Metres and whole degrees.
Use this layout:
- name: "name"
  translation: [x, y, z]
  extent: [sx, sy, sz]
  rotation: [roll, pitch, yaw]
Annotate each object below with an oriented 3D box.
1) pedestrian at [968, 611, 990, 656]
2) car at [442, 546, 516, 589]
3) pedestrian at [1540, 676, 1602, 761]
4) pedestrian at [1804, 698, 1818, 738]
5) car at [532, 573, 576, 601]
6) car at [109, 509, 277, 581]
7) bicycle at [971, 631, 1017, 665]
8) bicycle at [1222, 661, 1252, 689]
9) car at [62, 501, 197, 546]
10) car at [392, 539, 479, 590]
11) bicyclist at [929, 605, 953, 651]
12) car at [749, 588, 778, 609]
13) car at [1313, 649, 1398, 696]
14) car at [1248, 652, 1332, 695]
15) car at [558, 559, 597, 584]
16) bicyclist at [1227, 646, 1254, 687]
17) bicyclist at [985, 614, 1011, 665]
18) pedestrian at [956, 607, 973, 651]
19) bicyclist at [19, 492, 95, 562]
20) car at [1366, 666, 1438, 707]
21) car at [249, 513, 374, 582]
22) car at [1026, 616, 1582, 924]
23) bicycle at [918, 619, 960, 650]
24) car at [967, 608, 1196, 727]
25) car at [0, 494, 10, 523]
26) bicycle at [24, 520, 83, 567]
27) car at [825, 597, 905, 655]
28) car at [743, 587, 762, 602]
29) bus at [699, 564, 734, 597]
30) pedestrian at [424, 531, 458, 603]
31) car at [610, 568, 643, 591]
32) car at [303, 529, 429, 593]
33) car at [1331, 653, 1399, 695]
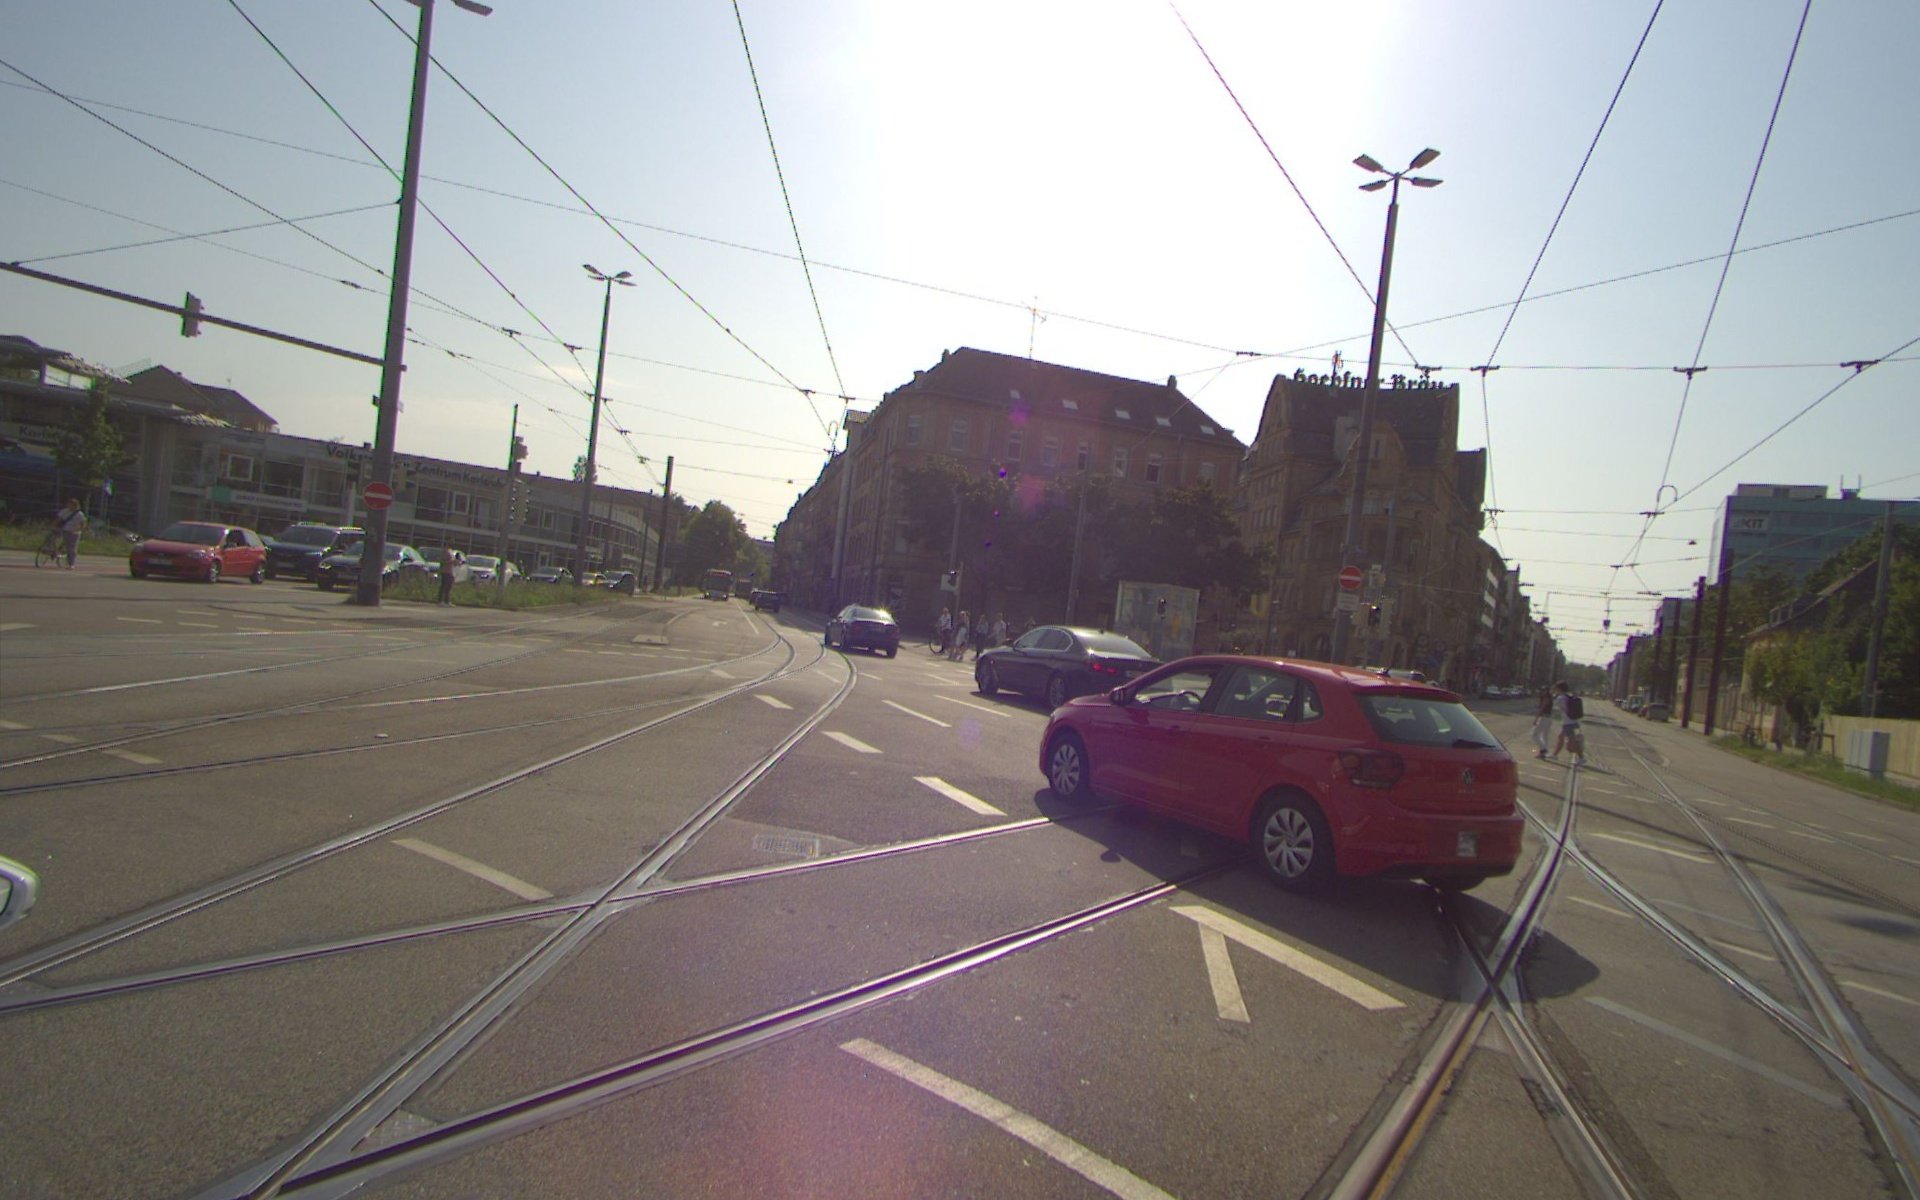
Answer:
- name: "pedestrian"
  translation: [0.735, 1.282, 38.813]
  extent: [0.498, 1.661, 0.522]
  rotation: [7, 0, -17]
- name: "car"
  translation: [-19.401, -1.305, 40.766]
  extent: [1.775, 1.433, 3.989]
  rotation: [7, 0, -14]
- name: "pedestrian"
  translation: [13.172, 2.555, 21.690]
  extent: [0.655, 1.708, 0.786]
  rotation: [6, 1, -36]
- name: "pedestrian"
  translation: [34.427, 4.770, 40.714]
  extent: [0.233, 1.550, 0.326]
  rotation: [7, 1, 32]
- name: "car"
  translation: [-24.826, -0.831, 61.627]
  extent: [1.775, 1.433, 3.989]
  rotation: [7, 0, -14]
- name: "car"
  translation: [-19.109, -1.324, 25.306]
  extent: [1.775, 1.433, 3.989]
  rotation: [7, 0, -14]
- name: "bicycle"
  translation: [1.219, 1.740, 36.134]
  extent: [1.504, 1.037, 0.432]
  rotation: [7, 0, -19]
- name: "bicycle"
  translation: [11.791, 3.205, 42.845]
  extent: [0.395, 1.104, 1.921]
  rotation: [7, 0, 39]
- name: "car"
  translation: [-38.566, -3.517, 46.878]
  extent: [4.339, 1.387, 1.990]
  rotation: [7, 0, -22]
- name: "car"
  translation: [-18.258, -1.221, 35.178]
  extent: [1.775, 1.453, 3.547]
  rotation: [7, 0, -14]
- name: "bicyclist"
  translation: [-0.758, 1.096, 39.390]
  extent: [0.578, 1.738, 0.645]
  rotation: [7, 0, -18]
- name: "car"
  translation: [-15.324, -0.136, 78.254]
  extent: [1.714, 1.366, 3.767]
  rotation: [7, 0, -16]
- name: "car"
  translation: [13.886, 2.571, 35.191]
  extent: [1.667, 1.343, 3.987]
  rotation: [7, 0, 36]
- name: "car"
  translation: [13.143, 2.929, 39.902]
  extent: [1.898, 1.393, 3.987]
  rotation: [7, 0, 37]
- name: "car"
  translation: [-25.666, -1.911, 67.581]
  extent: [1.775, 1.433, 3.989]
  rotation: [7, 0, -14]
- name: "bicyclist"
  translation: [11.921, 2.821, 42.725]
  extent: [0.653, 1.657, 0.915]
  rotation: [7, 1, 38]
- name: "bicyclist"
  translation: [1.360, 1.400, 36.091]
  extent: [0.578, 1.751, 0.593]
  rotation: [7, 0, -18]
- name: "pedestrian"
  translation: [0.174, 1.191, 41.255]
  extent: [0.496, 1.747, 0.624]
  rotation: [7, 0, -2]
- name: "bicyclist"
  translation: [-21.539, -1.730, 24.023]
  extent: [1.076, 1.493, 0.964]
  rotation: [6, 1, -30]
- name: "car"
  translation: [17.648, 3.442, 40.074]
  extent: [1.667, 1.343, 3.987]
  rotation: [7, 0, 36]
- name: "car"
  translation: [-20.872, -1.634, 32.625]
  extent: [1.775, 1.850, 4.760]
  rotation: [7, 0, -14]
- name: "car"
  translation: [2.252, 1.068, 7.620]
  extent: [1.657, 1.465, 3.754]
  rotation: [7, 0, -28]
- name: "bicycle"
  translation: [-0.823, 1.363, 39.299]
  extent: [1.505, 1.037, 0.432]
  rotation: [7, 0, -21]
- name: "car"
  translation: [1.977, 1.110, 18.091]
  extent: [1.890, 1.493, 4.716]
  rotation: [7, 0, -23]
- name: "car"
  translation: [-51.191, -4.910, 51.561]
  extent: [1.972, 1.480, 4.305]
  rotation: [7, -1, -20]
- name: "bicycle"
  translation: [-21.550, -1.354, 23.952]
  extent: [0.523, 1.002, 2.181]
  rotation: [5, 1, -29]
- name: "car"
  translation: [-3.092, 0.786, 32.073]
  extent: [1.714, 1.478, 3.826]
  rotation: [7, 0, -16]
- name: "car"
  translation: [-22.042, -0.602, 106.925]
  extent: [1.713, 1.366, 3.770]
  rotation: [7, 0, -13]
- name: "bus"
  translation: [-26.082, -2.113, 108.109]
  extent: [2.851, 3.021, 11.470]
  rotation: [7, 0, -12]
- name: "pedestrian"
  translation: [-13.235, -0.843, 25.651]
  extent: [0.518, 1.751, 0.595]
  rotation: [7, 1, -19]
- name: "car"
  translation: [-24.511, -1.484, 74.040]
  extent: [1.775, 1.433, 3.989]
  rotation: [7, 0, -14]
- name: "car"
  translation: [-16.865, -1.076, 28.801]
  extent: [1.775, 1.469, 4.338]
  rotation: [7, 0, -14]
- name: "car"
  translation: [19.352, 3.552, 47.974]
  extent: [1.898, 1.656, 3.986]
  rotation: [7, 0, 37]
